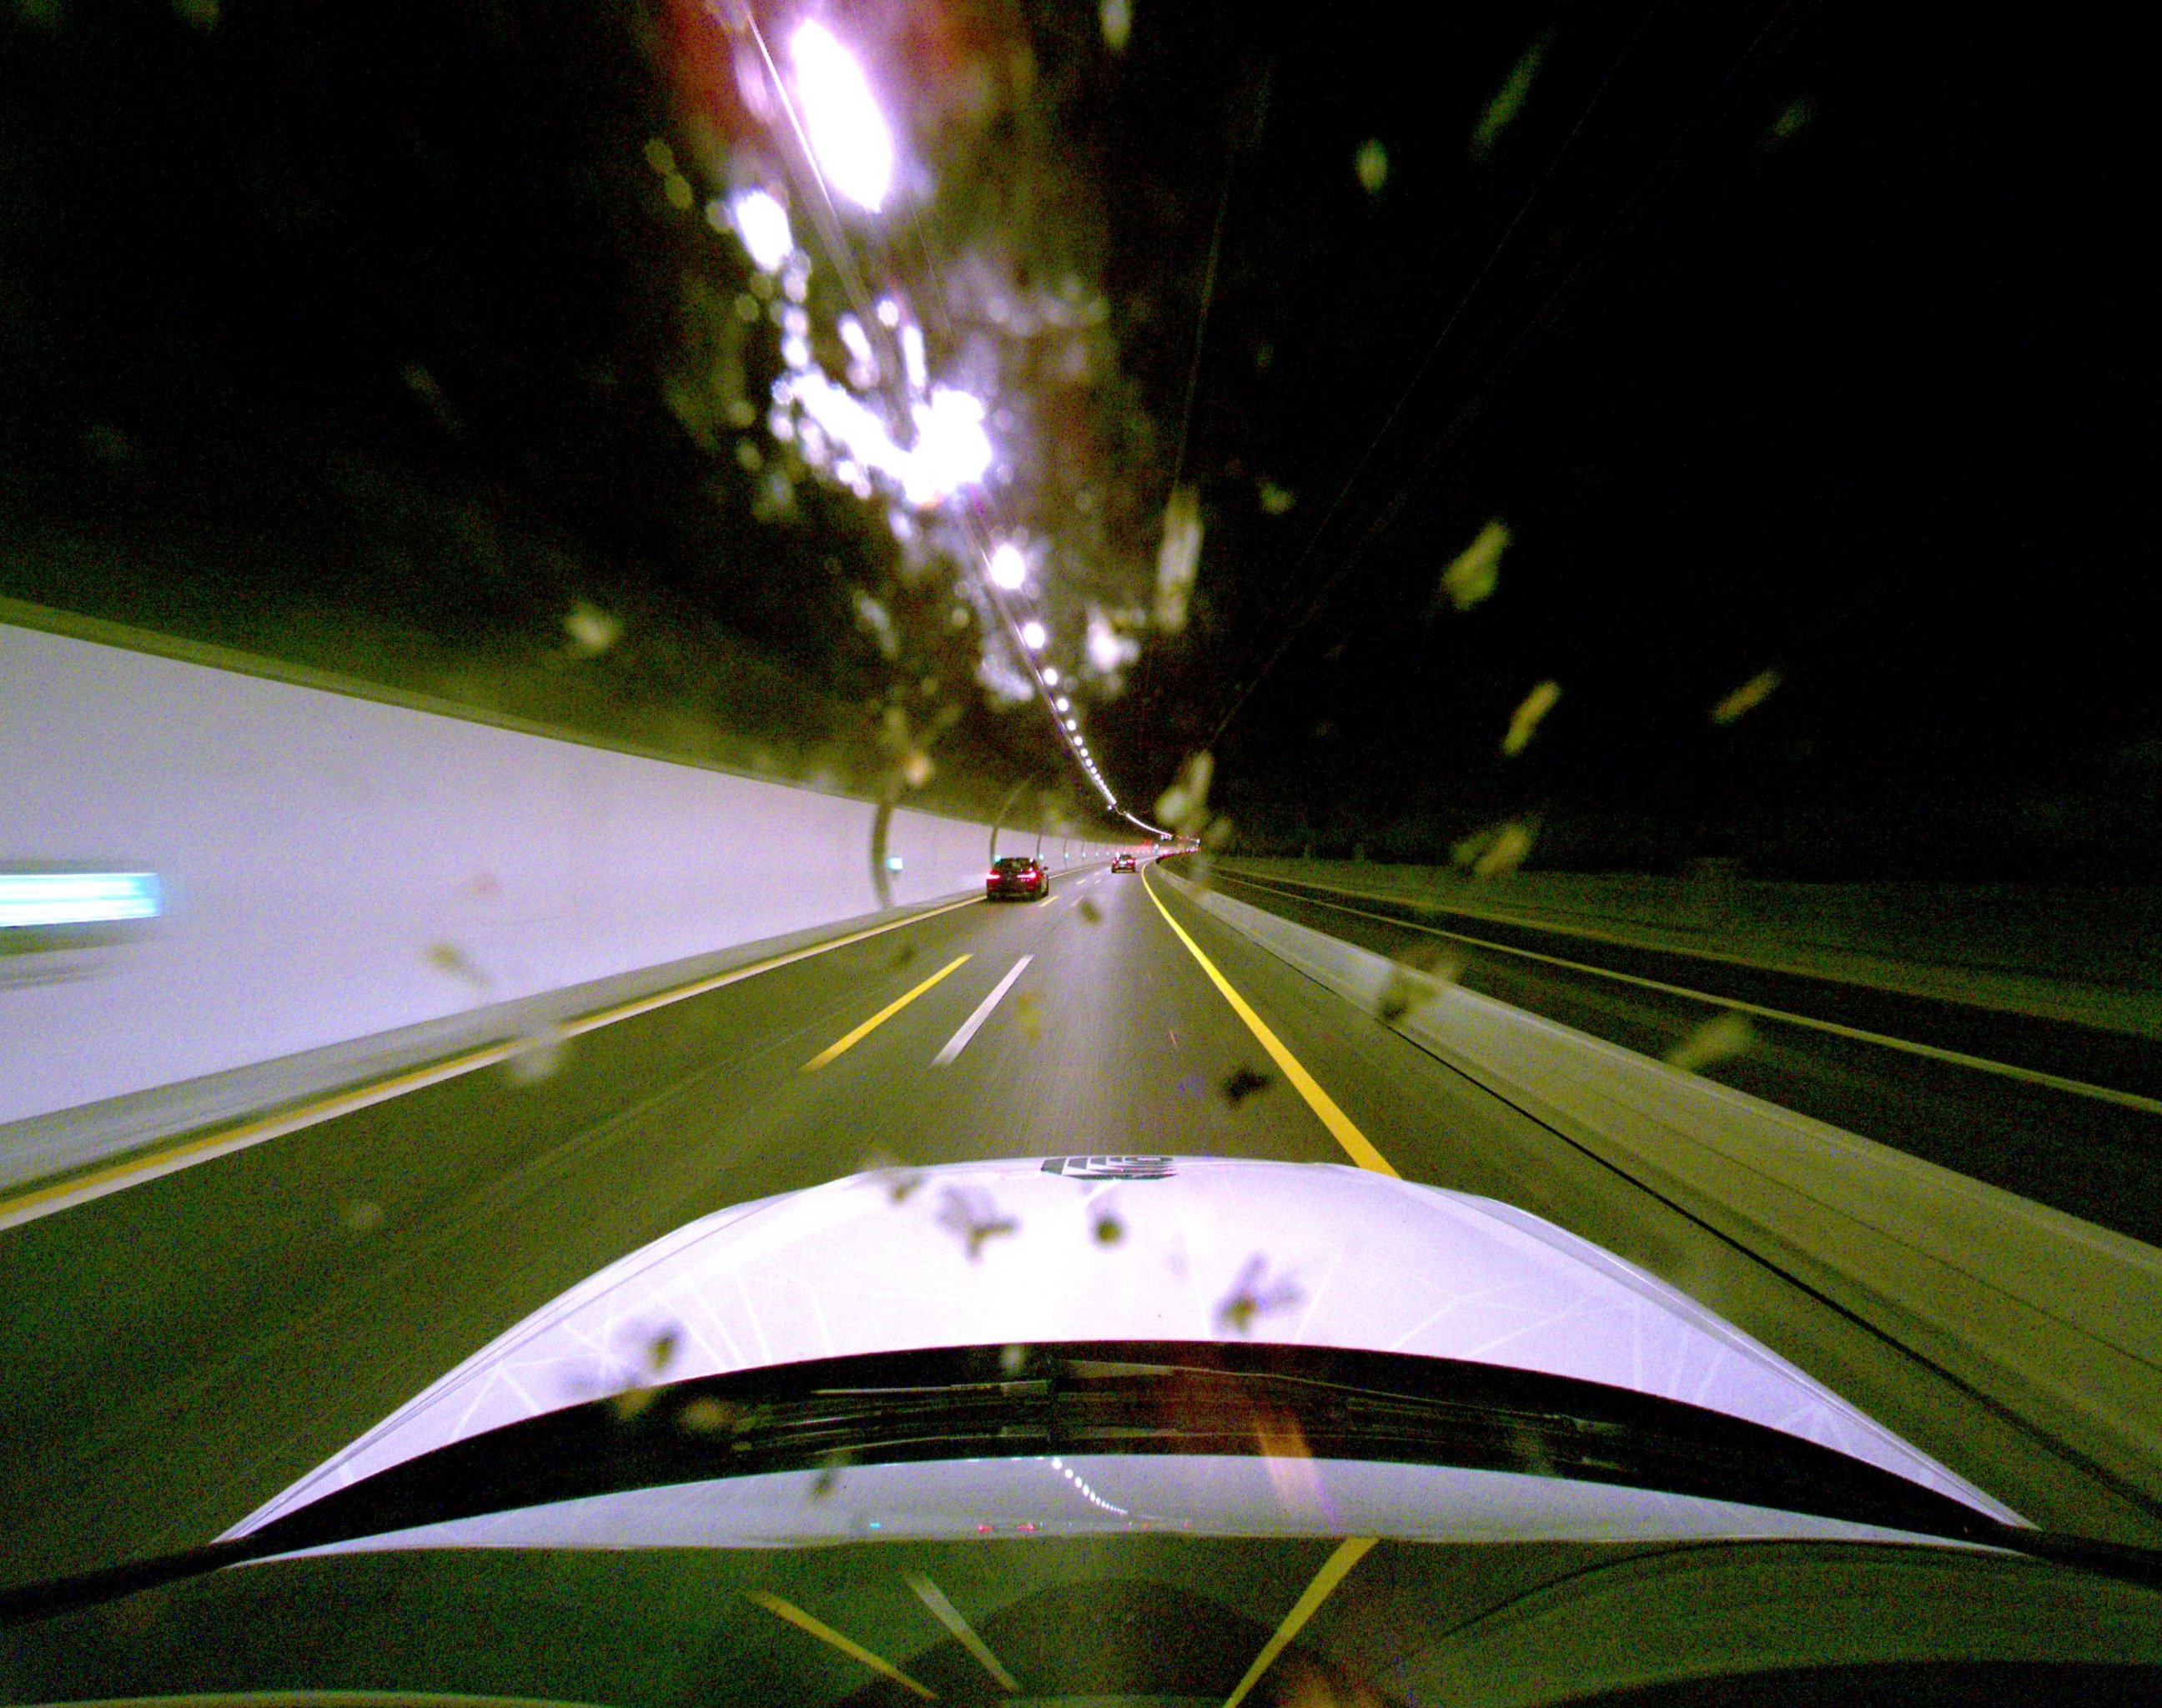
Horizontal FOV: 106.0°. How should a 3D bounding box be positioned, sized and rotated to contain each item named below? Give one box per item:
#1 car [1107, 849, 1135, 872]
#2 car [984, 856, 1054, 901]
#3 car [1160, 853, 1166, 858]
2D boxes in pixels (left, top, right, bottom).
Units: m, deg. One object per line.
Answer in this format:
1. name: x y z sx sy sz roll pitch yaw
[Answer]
1. car: 3.240 0.505 64.963 2.131 1.706 4.005 -1 0 4
2. car: -2.099 0.802 28.982 1.770 1.438 4.888 -1 0 4
3. car: 22.536 0.515 223.093 1.586 1.333 3.758 -1 0 7
